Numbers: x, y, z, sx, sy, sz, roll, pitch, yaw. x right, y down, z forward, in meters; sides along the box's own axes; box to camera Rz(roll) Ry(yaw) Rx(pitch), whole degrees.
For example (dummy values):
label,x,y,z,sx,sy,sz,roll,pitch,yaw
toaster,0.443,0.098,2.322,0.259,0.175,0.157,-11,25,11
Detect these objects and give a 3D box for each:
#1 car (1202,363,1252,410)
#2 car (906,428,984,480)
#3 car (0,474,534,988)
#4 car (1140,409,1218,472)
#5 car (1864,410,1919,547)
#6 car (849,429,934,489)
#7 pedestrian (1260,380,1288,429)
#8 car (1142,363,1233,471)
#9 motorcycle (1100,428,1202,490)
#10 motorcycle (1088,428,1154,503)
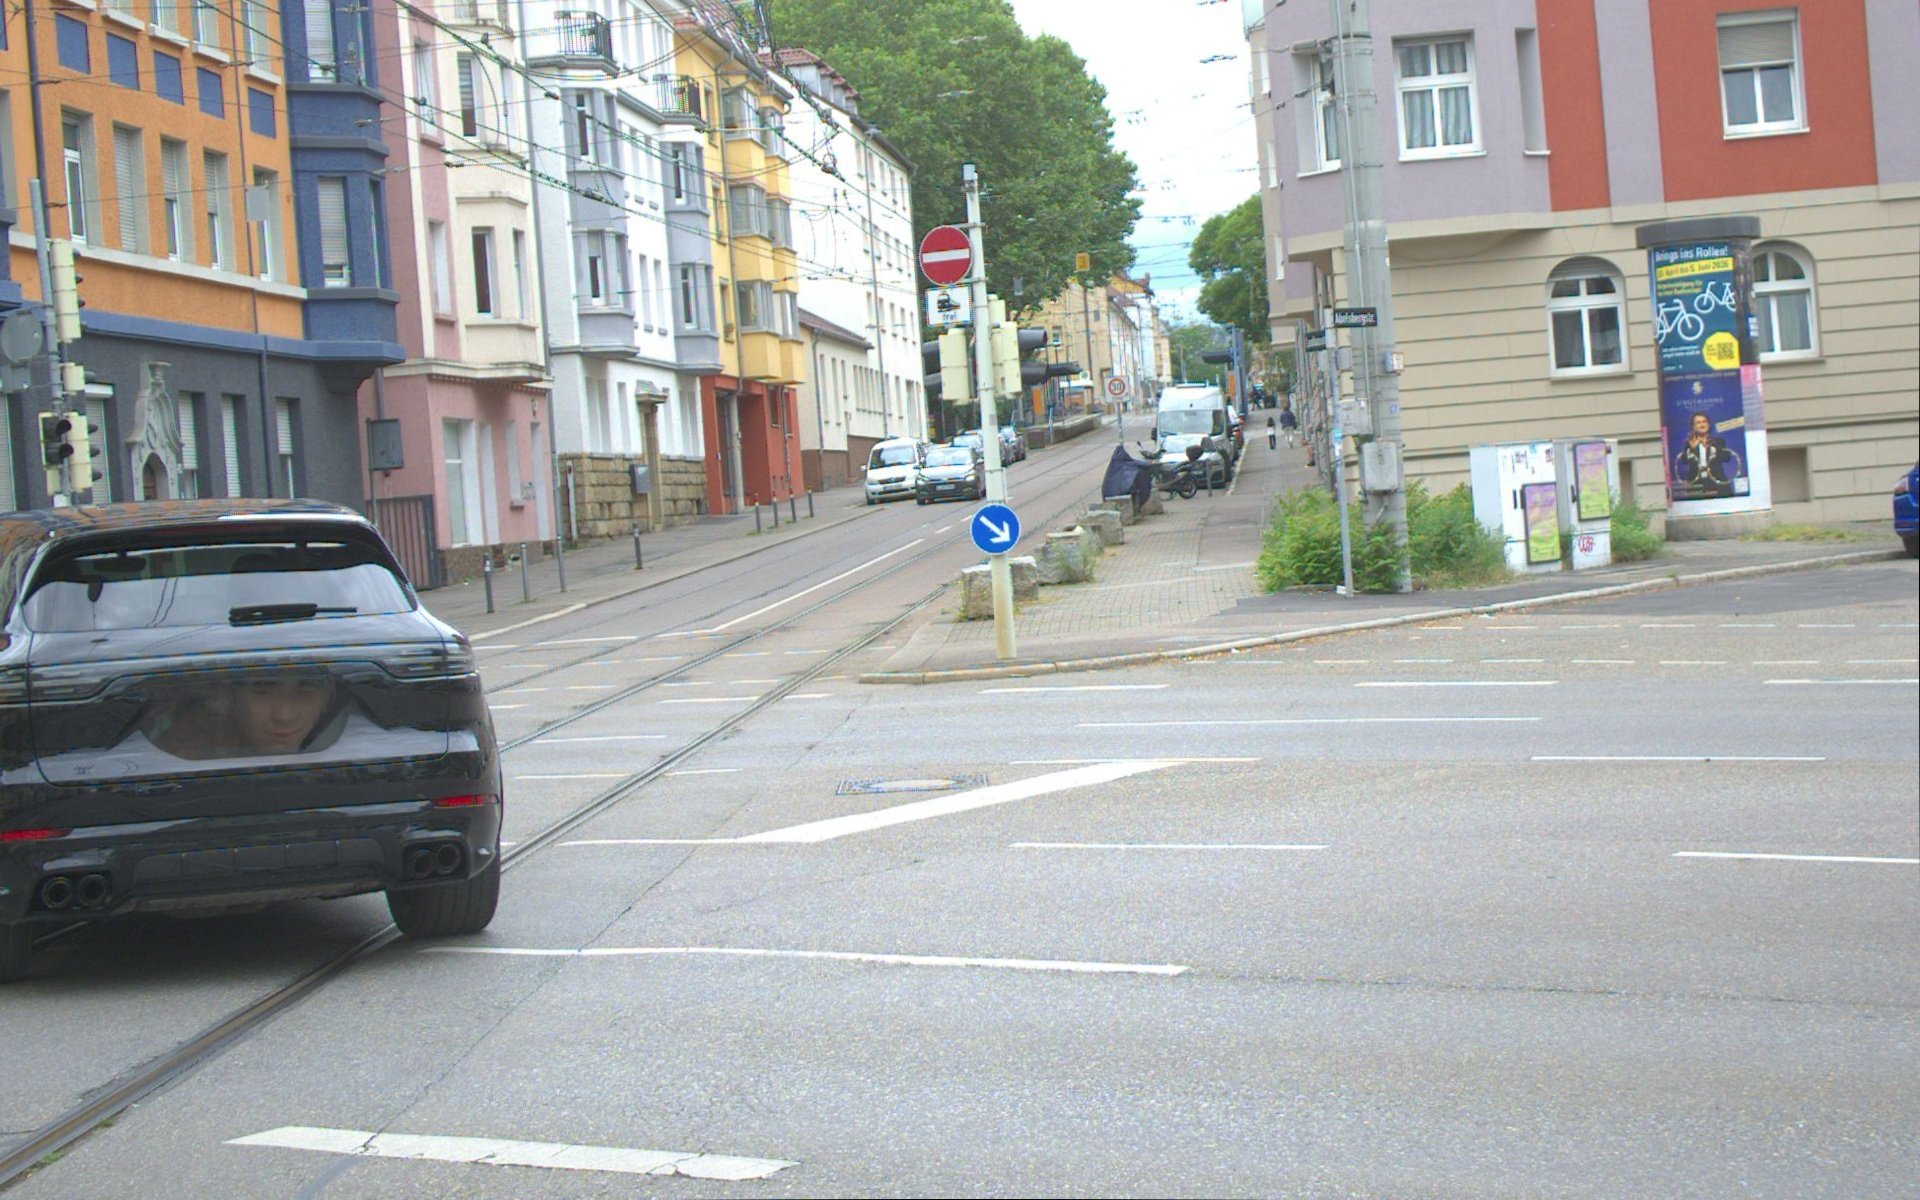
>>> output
label,x,y,z,sx,sy,sz,roll,pitch,yaw
car,13.282,-10.602,170.924,2.268,2.176,4.769,-2,3,6
car,-0.382,-3.983,93.564,1.686,1.322,3.662,-2,3,6
car,-3.194,0.384,13.421,2.023,1.636,4.357,-2,1,-21
car,5.774,-4.199,90.317,1.840,1.563,3.819,-2,3,6
car,12.715,-1.546,40.483,4.130,1.529,1.918,-6,5,-40
car,-2.021,-4.232,102.746,1.994,1.686,4.000,-2,3,6
pedestrian,10.798,-6.741,118.340,0.681,1.626,0.673,-2,0,30
car,6.389,-5.101,96.011,2.268,2.880,4.769,-2,3,6
motorcycle,4.289,-3.170,77.363,2.176,1.322,0.700,-2,2,-4
motorcycle,3.116,-2.624,66.882,0.859,1.321,2.184,-9,3,-3
